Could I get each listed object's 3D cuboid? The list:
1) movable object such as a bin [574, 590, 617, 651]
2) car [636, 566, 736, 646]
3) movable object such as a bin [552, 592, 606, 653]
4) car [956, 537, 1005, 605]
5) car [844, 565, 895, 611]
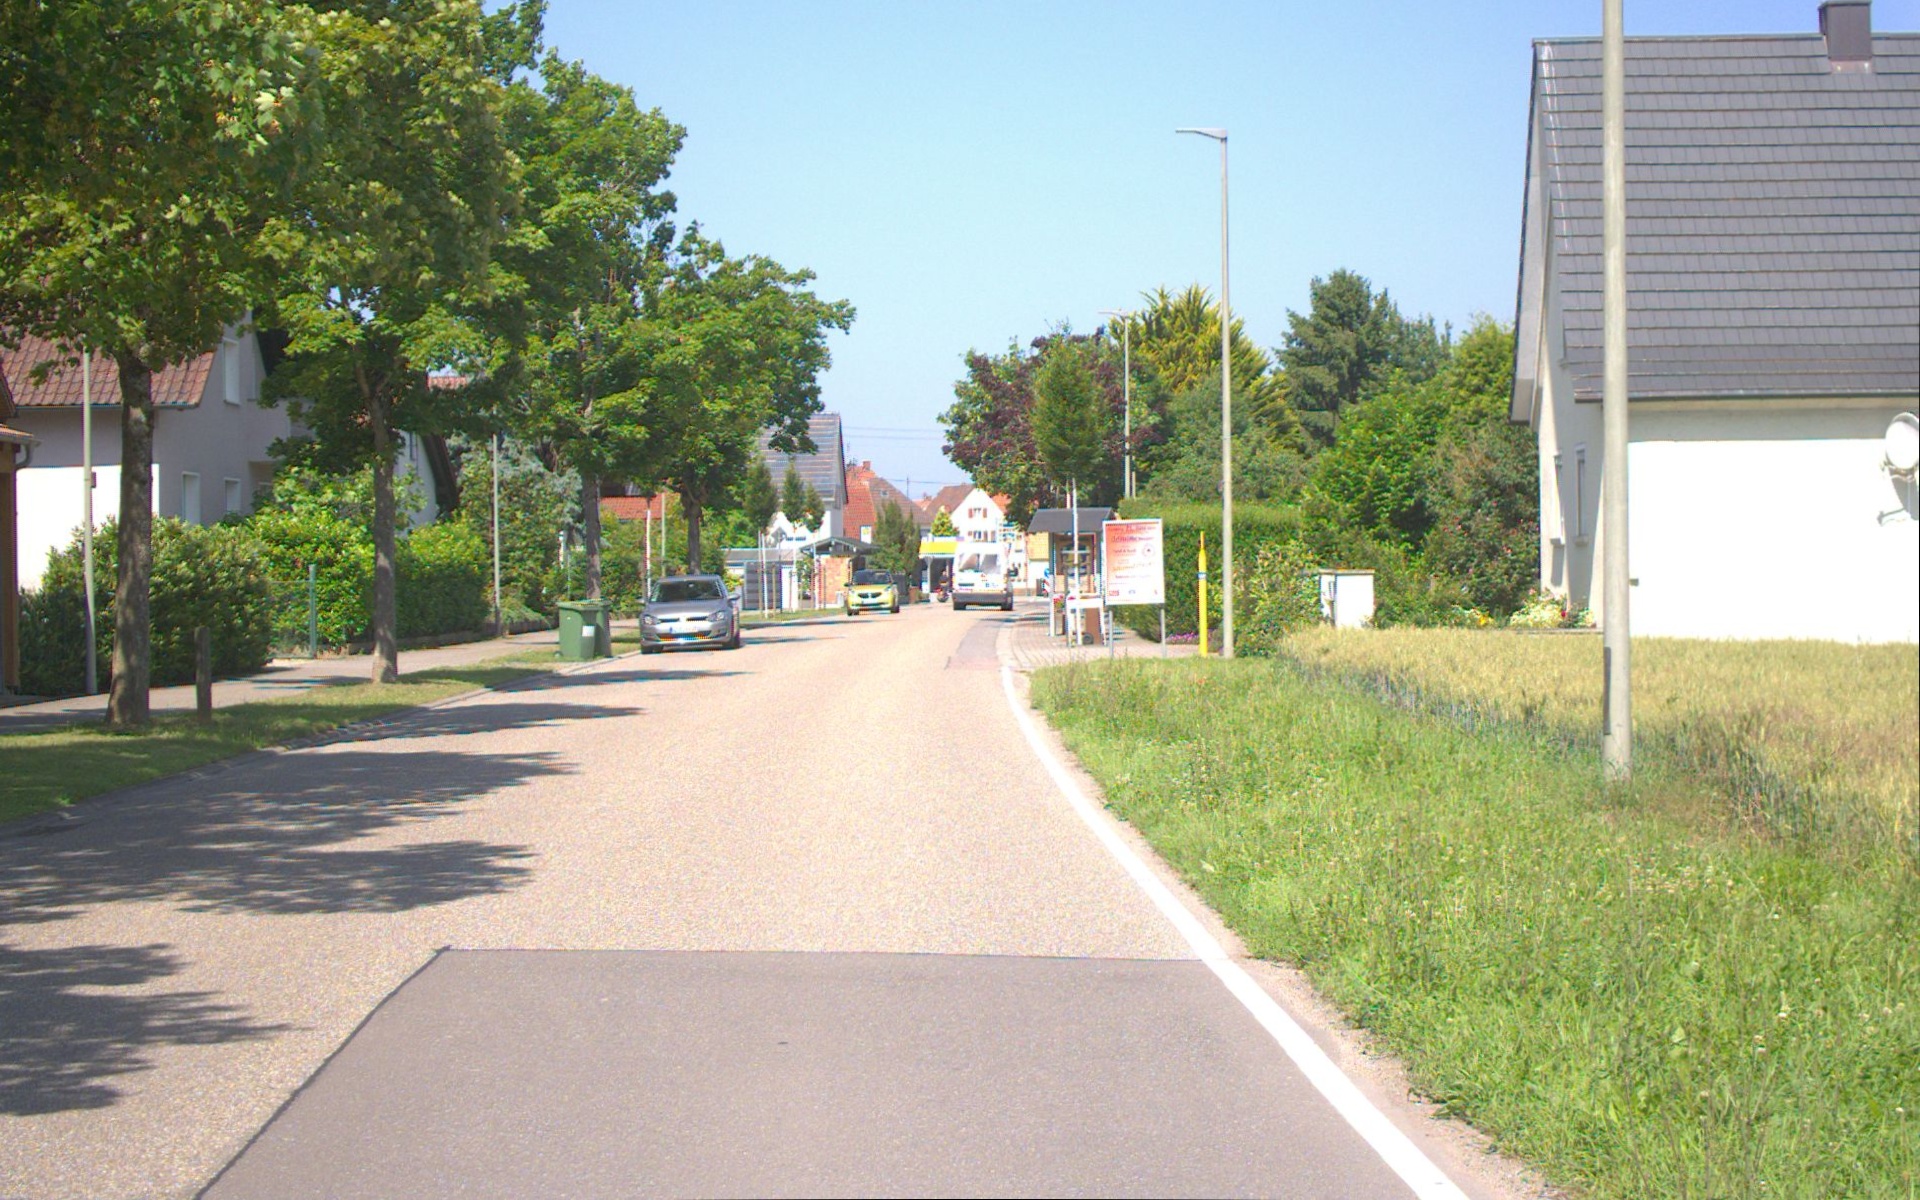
[{"bbox_3d":[-6.524,0.368,61.532,0.575,1.075,0.598,-1,0,14],"label":"movable object such as a bin"},{"bbox_3d":[-5.248,0.094,66.282,1.647,1.419,4.080,-3,0,-2],"label":"car"},{"bbox_3d":[-6.742,0.401,60.836,0.714,1.075,0.639,-1,0,26],"label":"movable object such as a bin"},{"bbox_3d":[0.745,-1.075,126.265,1.737,2.424,4.374,-1,0,0],"label":"car"},{"bbox_3d":[-3.135,-0.435,119.106,1.665,1.519,3.443,-2,0,-3],"label":"car"}]
